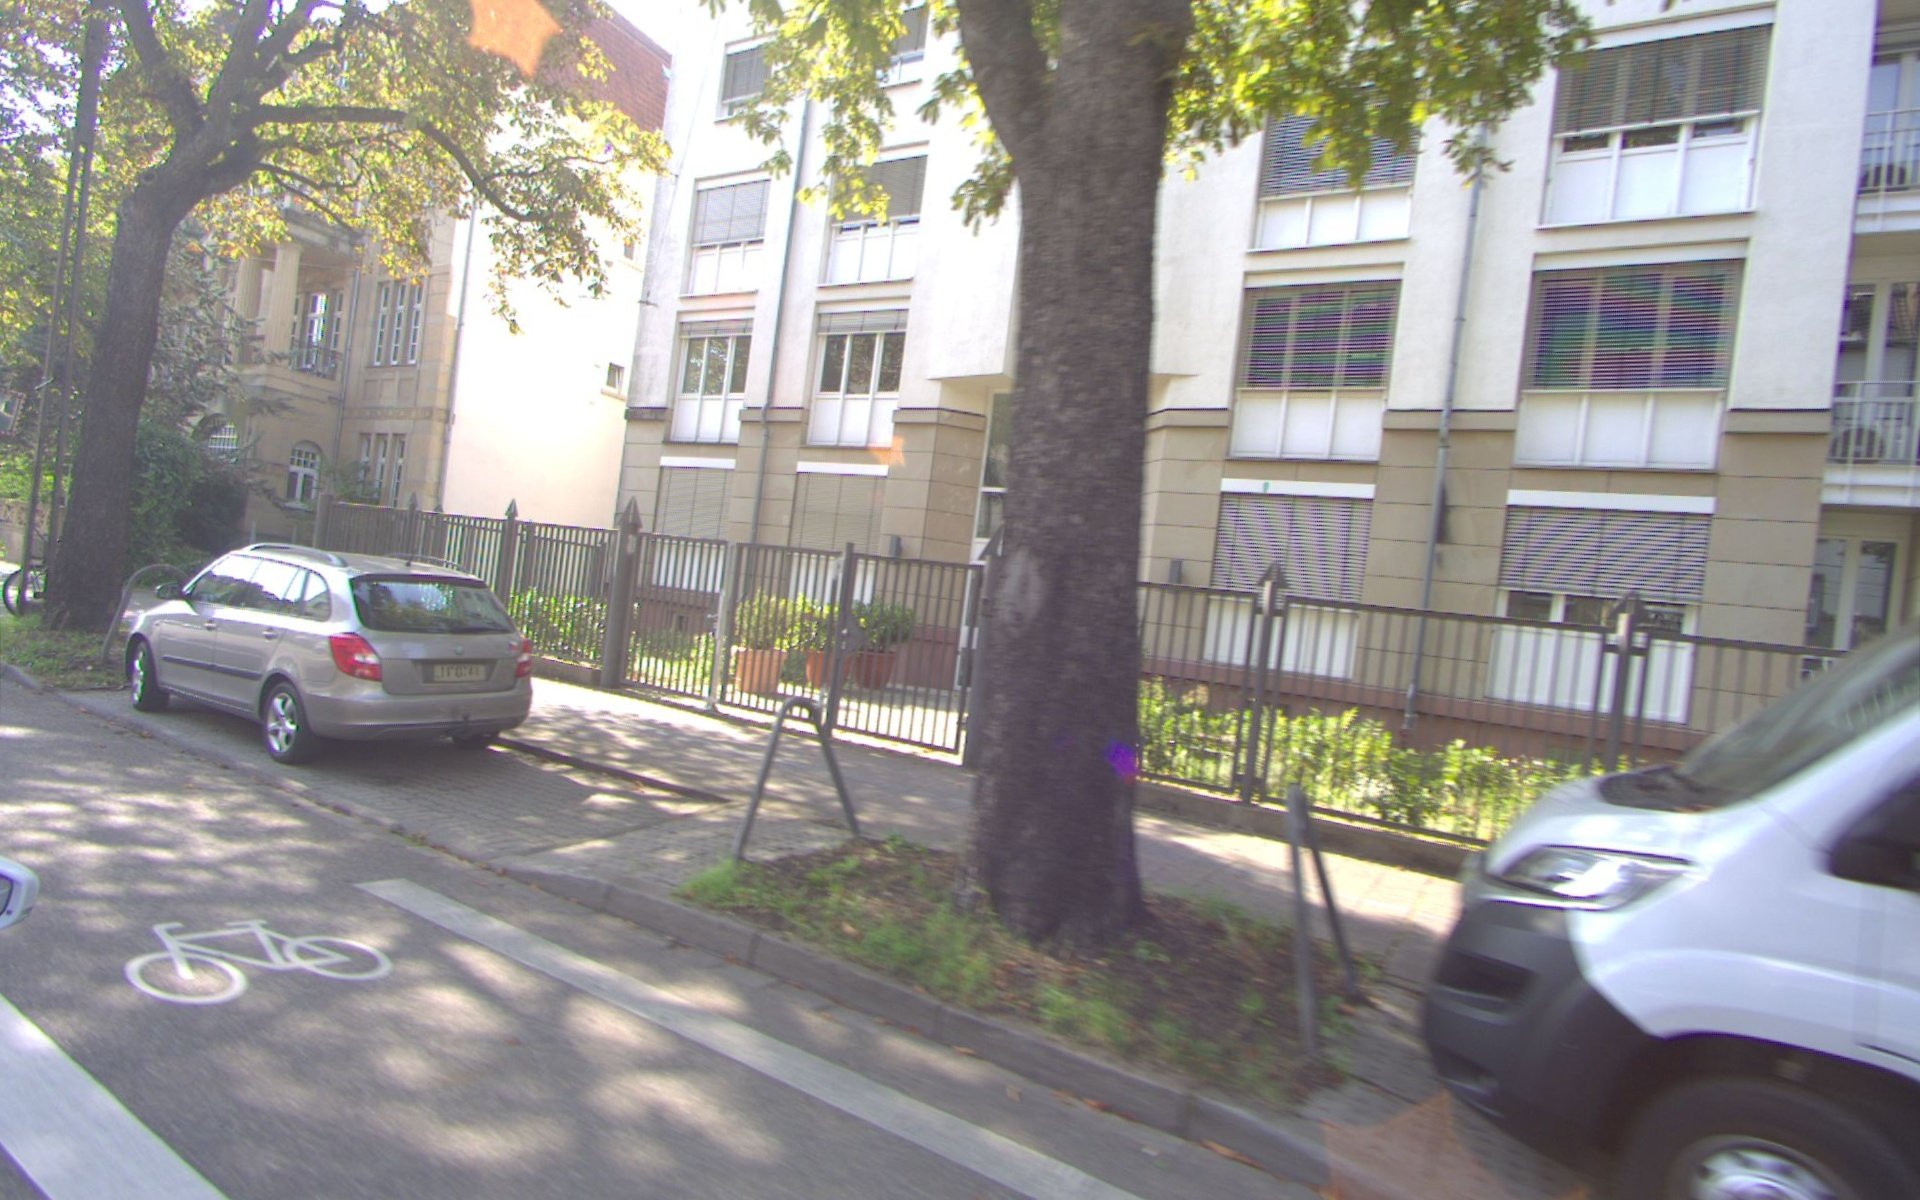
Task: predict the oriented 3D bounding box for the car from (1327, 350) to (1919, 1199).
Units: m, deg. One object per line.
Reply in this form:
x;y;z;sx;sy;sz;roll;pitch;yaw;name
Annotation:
4.386;0.901;2.361;6.125;2.529;2.048;7;0;32;car

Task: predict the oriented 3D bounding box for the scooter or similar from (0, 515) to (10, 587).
-17.016;-0.883;17.467;1.018;1.213;0.557;6;3;37;scooter or similar

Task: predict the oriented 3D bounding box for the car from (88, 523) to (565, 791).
-5.429;0.317;8.444;4.285;1.544;1.607;6;2;32;car

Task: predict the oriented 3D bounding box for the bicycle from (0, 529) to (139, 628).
-11.494;-0.286;12.980;0.496;1.182;1.838;1;2;-8;bicycle
